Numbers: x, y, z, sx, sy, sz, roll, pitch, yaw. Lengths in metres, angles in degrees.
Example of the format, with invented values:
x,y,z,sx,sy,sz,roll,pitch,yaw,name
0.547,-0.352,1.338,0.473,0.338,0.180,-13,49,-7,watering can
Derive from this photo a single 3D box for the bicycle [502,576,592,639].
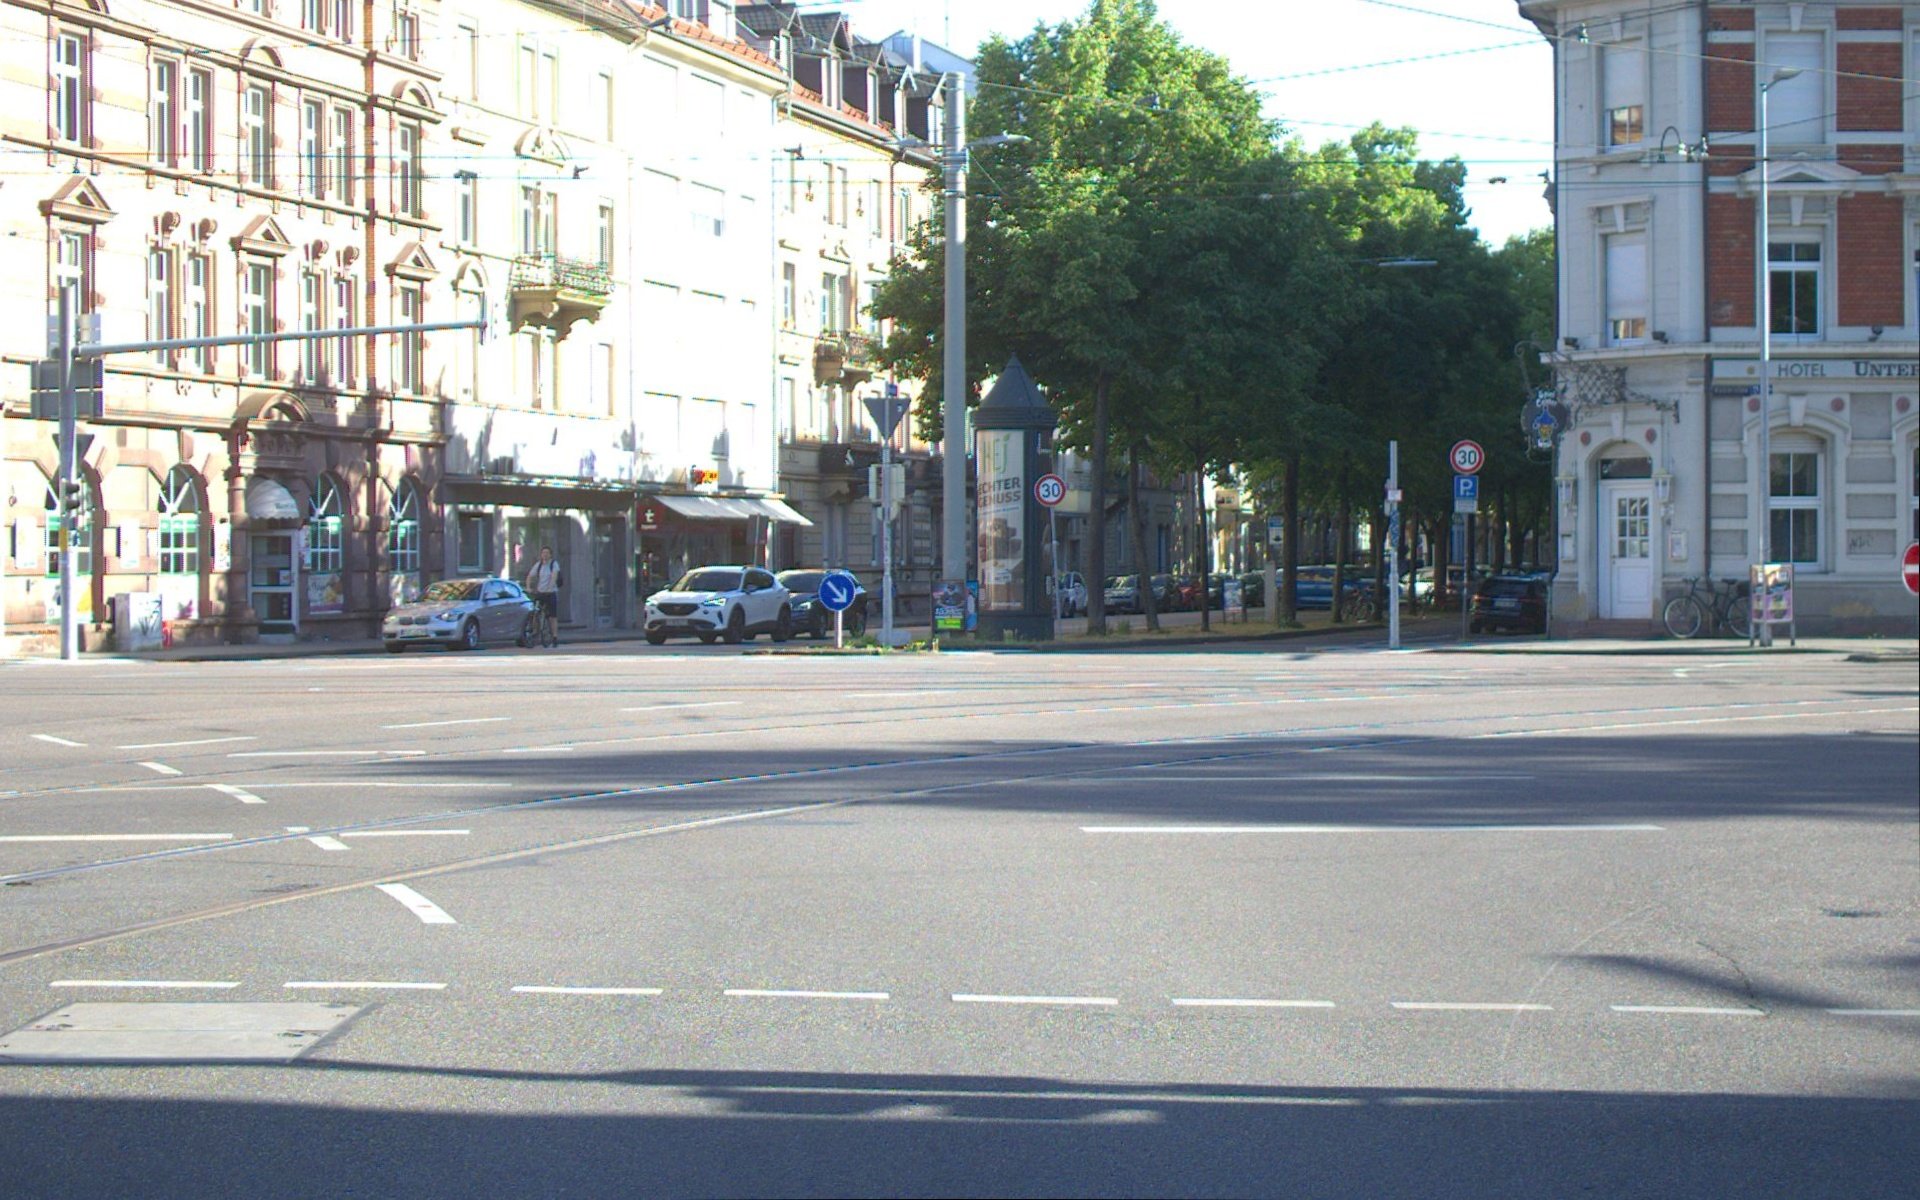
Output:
x,y,z,sx,sy,sz,roll,pitch,yaw,name
-7.865,0.129,65.631,0.751,1.131,2.808,0,1,14,bicycle

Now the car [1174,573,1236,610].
x,y,z,sx,sy,sz,roll,pitch,yaw,name
9.728,-0.348,136.388,1.742,1.393,4.121,3,1,13,car

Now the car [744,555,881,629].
x,y,z,sx,sy,sz,roll,pitch,yaw,name
-3.128,-0.188,73.535,1.994,1.508,3.998,0,1,12,car

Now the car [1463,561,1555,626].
x,y,z,sx,sy,sz,roll,pitch,yaw,name
13.169,-0.155,82.288,1.652,1.519,3.750,0,0,17,car

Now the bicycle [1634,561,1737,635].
x,y,z,sx,sy,sz,roll,pitch,yaw,name
12.063,-0.033,57.136,1.639,1.218,0.606,0,1,16,bicycle

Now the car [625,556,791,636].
x,y,z,sx,sy,sz,roll,pitch,yaw,name
-4.877,-0.101,67.168,2.098,1.494,3.998,0,1,14,car

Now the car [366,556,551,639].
x,y,z,sx,sy,sz,roll,pitch,yaw,name
-9.776,-0.069,67.382,2.098,1.540,4.361,0,1,14,car

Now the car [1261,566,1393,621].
x,y,z,sx,sy,sz,roll,pitch,yaw,name
12.293,-0.225,115.227,4.113,1.640,1.745,3,1,15,car

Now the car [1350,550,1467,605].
x,y,z,sx,sy,sz,roll,pitch,yaw,name
17.410,-0.877,133.426,4.115,1.912,1.744,3,1,21,car

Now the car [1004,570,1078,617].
x,y,z,sx,sy,sz,roll,pitch,yaw,name
2.598,-0.215,110.003,1.741,1.393,4.122,3,1,9,car

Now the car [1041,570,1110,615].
x,y,z,sx,sy,sz,roll,pitch,yaw,name
3.922,-0.255,115.808,1.741,1.393,4.122,3,1,9,car

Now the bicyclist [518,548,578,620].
x,y,z,sx,sy,sz,roll,pitch,yaw,name
-7.852,-0.312,65.593,0.794,1.370,1.107,0,1,14,bicyclist

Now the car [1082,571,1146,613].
x,y,z,sx,sy,sz,roll,pitch,yaw,name
5.509,-0.302,122.785,1.741,1.393,4.122,3,1,9,car

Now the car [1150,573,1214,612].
x,y,z,sx,sy,sz,roll,pitch,yaw,name
8.509,-0.313,131.609,1.742,1.393,4.121,3,1,13,car
